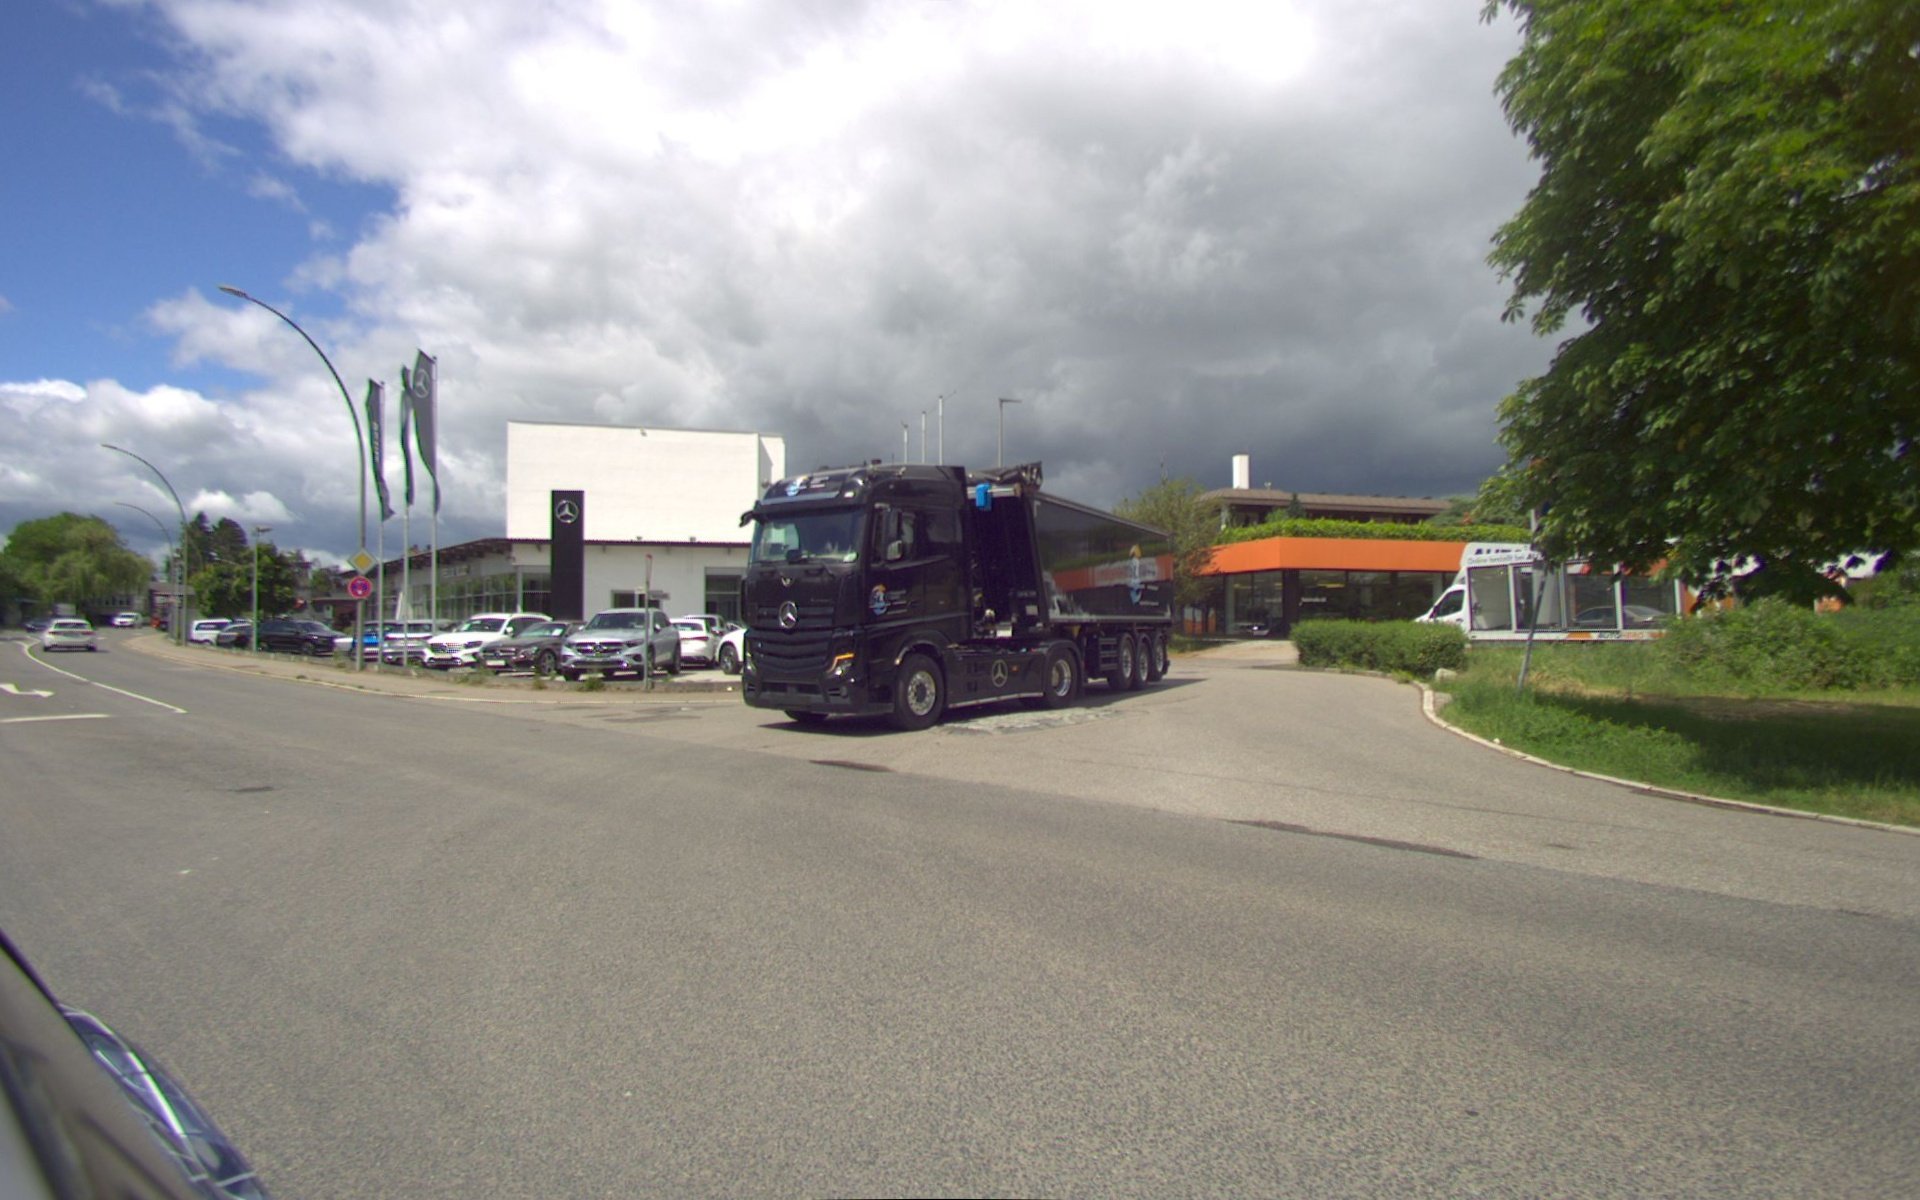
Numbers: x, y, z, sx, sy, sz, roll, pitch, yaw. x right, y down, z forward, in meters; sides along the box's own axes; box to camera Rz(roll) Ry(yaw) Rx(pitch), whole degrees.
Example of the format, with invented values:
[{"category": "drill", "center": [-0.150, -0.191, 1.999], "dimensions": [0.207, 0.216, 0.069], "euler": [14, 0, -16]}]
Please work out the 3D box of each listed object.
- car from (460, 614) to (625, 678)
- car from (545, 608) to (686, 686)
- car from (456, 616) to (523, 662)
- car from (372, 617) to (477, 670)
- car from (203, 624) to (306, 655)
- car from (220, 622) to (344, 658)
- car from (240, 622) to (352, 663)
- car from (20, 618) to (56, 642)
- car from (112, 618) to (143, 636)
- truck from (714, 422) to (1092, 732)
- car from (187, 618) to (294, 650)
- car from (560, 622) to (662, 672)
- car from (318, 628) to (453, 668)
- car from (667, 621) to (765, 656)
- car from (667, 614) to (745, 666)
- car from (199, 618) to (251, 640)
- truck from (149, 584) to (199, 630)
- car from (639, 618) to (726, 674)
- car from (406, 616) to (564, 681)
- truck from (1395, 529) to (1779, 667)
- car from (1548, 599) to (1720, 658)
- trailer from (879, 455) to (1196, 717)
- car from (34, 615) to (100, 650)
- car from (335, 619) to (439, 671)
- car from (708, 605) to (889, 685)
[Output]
[{"category": "car", "center": [-10.734, 1.169, 26.408], "dimensions": [1.779, 1.477, 4.309], "euler": [-2, -2, 14]}, {"category": "car", "center": [-7.908, 1.035, 23.716], "dimensions": [1.958, 1.617, 4.746], "euler": [-1, -1, -4]}, {"category": "car", "center": [-17.727, 1.457, 38.271], "dimensions": [1.773, 1.637, 3.966], "euler": [0, -2, -17]}, {"category": "car", "center": [-17.695, 1.430, 33.678], "dimensions": [1.843, 1.578, 4.530], "euler": [-1, -2, -11]}, {"category": "car", "center": [-35.763, 2.021, 51.407], "dimensions": [3.894, 1.506, 1.806], "euler": [1, -2, -5]}, {"category": "car", "center": [-33.003, 1.951, 49.379], "dimensions": [4.561, 1.637, 2.067], "euler": [0, -2, -10]}, {"category": "car", "center": [-29.154, 1.864, 44.454], "dimensions": [4.316, 1.637, 1.794], "euler": [-1, 1, 18]}, {"category": "car", "center": [-80.856, 2.607, 88.768], "dimensions": [1.924, 2.029, 4.008], "euler": [2, -2, -38]}, {"category": "car", "center": [-97.367, 3.173, 118.418], "dimensions": [1.922, 2.029, 4.013], "euler": [1, -2, -26]}, {"category": "truck", "center": [-0.632, -0.201, 15.658], "dimensions": [2.980, 3.853, 5.502], "euler": [-1, -2, 37]}, {"category": "car", "center": [-43.355, 2.048, 61.051], "dimensions": [4.880, 1.852, 1.896], "euler": [1, -2, -8]}, {"category": "car", "center": [-11.274, 1.479, 33.001], "dimensions": [1.841, 1.479, 4.560], "euler": [-1, -2, -1]}, {"category": "car", "center": [-23.502, 1.939, 41.478], "dimensions": [4.538, 1.400, 1.802], "euler": [-2, 1, 4]}, {"category": "car", "center": [-11.795, 1.873, 48.969], "dimensions": [4.507, 1.602, 1.933], "euler": [1, -1, -15]}, {"category": "car", "center": [-8.580, 1.342, 34.524], "dimensions": [1.839, 1.629, 4.438], "euler": [-1, -2, -4]}, {"category": "car", "center": [-56.726, 2.245, 78.166], "dimensions": [3.213, 1.586, 1.586], "euler": [3, -3, -36]}, {"category": "truck", "center": [-84.208, 0.777, 108.566], "dimensions": [2.932, 4.697, 8.204], "euler": [2, -2, -29]}, {"category": "car", "center": [-7.994, 1.304, 29.537], "dimensions": [1.838, 1.479, 4.566], "euler": [-1, -2, -8]}, {"category": "car", "center": [-13.382, 1.331, 28.845], "dimensions": [1.917, 1.690, 4.283], "euler": [0, -1, 11]}, {"category": "truck", "center": [16.088, 0.093, 26.986], "dimensions": [2.618, 3.072, 8.618], "euler": [1, -2, -26]}, {"category": "car", "center": [22.647, 0.967, 34.248], "dimensions": [1.802, 1.860, 4.689], "euler": [1, -2, -19]}, {"category": "trailer", "center": [2.155, -0.092, 20.845], "dimensions": [3.302, 4.114, 9.383], "euler": [0, -2, 26]}, {"category": "car", "center": [-40.341, 1.452, 45.699], "dimensions": [1.970, 1.461, 4.430], "euler": [4, -4, -44]}, {"category": "car", "center": [-20.471, 1.561, 36.387], "dimensions": [1.863, 1.681, 4.581], "euler": [-1, -1, -11]}, {"category": "car", "center": [-3.962, 1.043, 24.345], "dimensions": [4.600, 1.734, 1.909], "euler": [-1, -2, 43]}]
